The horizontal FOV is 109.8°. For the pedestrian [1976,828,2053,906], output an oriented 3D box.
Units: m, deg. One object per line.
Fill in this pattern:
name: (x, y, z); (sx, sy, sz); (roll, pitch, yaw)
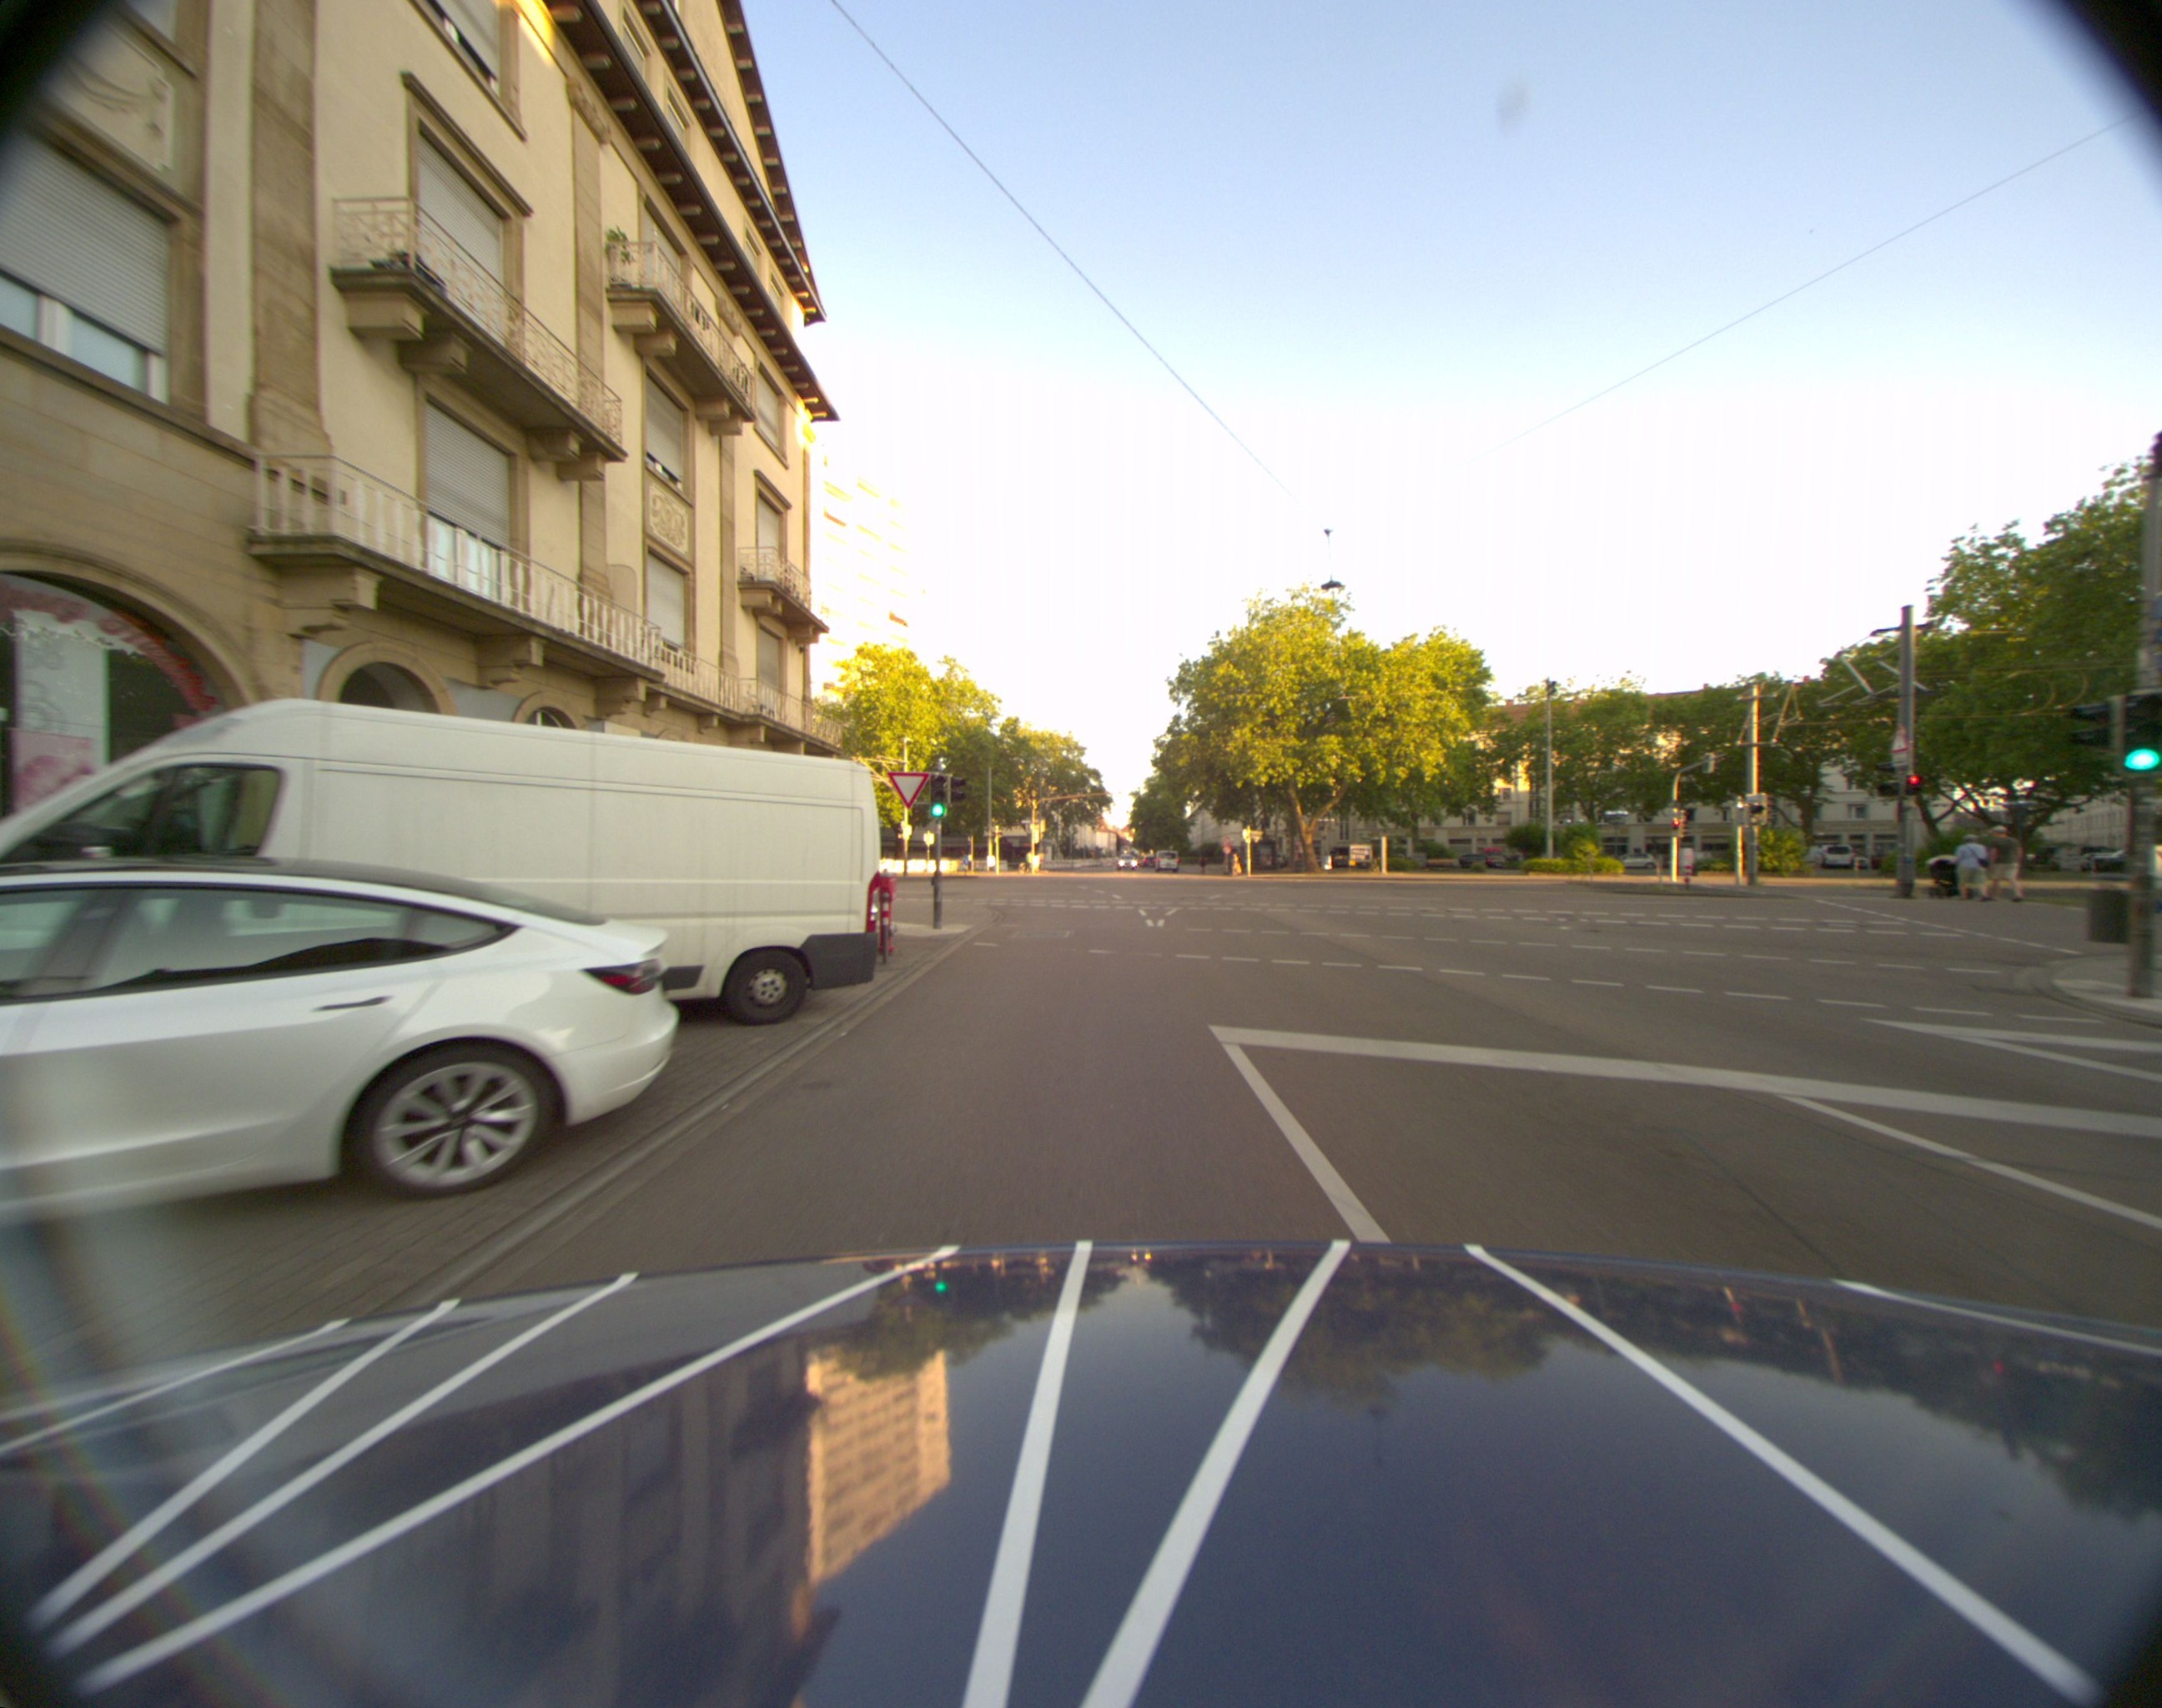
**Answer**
pedestrian: (22.784, 0.304, 18.570); (0.709, 1.836, 1.161); (0, 1, 21)

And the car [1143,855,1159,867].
car: (8.996, 0.875, 97.266); (1.997, 1.450, 4.002); (0, 0, 6)

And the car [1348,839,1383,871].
car: (18.545, 0.039, 49.613); (1.865, 2.002, 3.815); (0, 0, 16)

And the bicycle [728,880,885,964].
bicycle: (-3.895, 0.969, 10.896); (2.002, 1.081, 0.541); (3, 0, -8)

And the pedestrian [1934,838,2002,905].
pedestrian: (22.050, 0.423, 18.911); (0.718, 1.624, 1.009); (0, 1, 21)

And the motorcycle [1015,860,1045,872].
motorcycle: (-3.955, 0.899, 59.222); (2.288, 0.917, 0.621); (0, 0, -24)

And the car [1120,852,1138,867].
car: (5.102, 0.543, 79.796); (1.839, 1.549, 4.001); (0, 0, 5)

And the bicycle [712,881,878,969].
bicycle: (-3.840, 0.959, 10.325); (2.002, 1.081, 0.541); (3, 0, -8)

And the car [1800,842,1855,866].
car: (59.153, 0.010, 60.296); (1.995, 1.826, 4.325); (0, 0, 28)

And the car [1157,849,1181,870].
car: (8.099, 0.489, 70.168); (1.991, 1.945, 4.597); (0, 0, 4)

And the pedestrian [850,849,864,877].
pedestrian: (-13.541, 0.526, 45.956); (0.663, 1.647, 0.542); (-1, 1, -33)

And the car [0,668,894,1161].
car: (-4.731, 0.295, 5.994); (5.897, 2.537, 2.189); (1, 2, -40)

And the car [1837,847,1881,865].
car: (68.962, 0.191, 67.419); (1.759, 1.562, 3.593); (0, 0, 29)

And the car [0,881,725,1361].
car: (-4.076, 0.908, 3.278); (4.263, 1.445, 1.994); (1, 1, -37)

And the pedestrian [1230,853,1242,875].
pedestrian: (11.042, 0.709, 54.052); (0.745, 1.619, 0.660); (0, 1, 18)

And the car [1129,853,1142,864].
car: (8.107, 0.702, 112.899); (1.794, 1.571, 4.001); (0, 0, 5)

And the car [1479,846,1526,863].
car: (43.217, 0.054, 77.872); (3.988, 1.696, 2.004); (0, 1, 34)

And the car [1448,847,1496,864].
car: (39.250, 0.109, 76.305); (3.988, 1.696, 2.004); (0, 1, 34)

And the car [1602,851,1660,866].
car: (50.442, 0.407, 69.723); (3.991, 1.410, 1.812); (0, 1, 20)

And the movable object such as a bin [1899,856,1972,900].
movable object such as a bin: (22.458, 0.622, 20.001); (0.860, 1.113, 1.139); (0, 0, 21)

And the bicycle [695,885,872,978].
bicycle: (-3.778, 0.990, 9.765); (2.002, 1.081, 0.541); (3, 0, -8)

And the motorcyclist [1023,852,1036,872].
motorcyclist: (-4.015, 0.608, 59.192); (0.830, 1.511, 0.621); (-1, 1, -24)
